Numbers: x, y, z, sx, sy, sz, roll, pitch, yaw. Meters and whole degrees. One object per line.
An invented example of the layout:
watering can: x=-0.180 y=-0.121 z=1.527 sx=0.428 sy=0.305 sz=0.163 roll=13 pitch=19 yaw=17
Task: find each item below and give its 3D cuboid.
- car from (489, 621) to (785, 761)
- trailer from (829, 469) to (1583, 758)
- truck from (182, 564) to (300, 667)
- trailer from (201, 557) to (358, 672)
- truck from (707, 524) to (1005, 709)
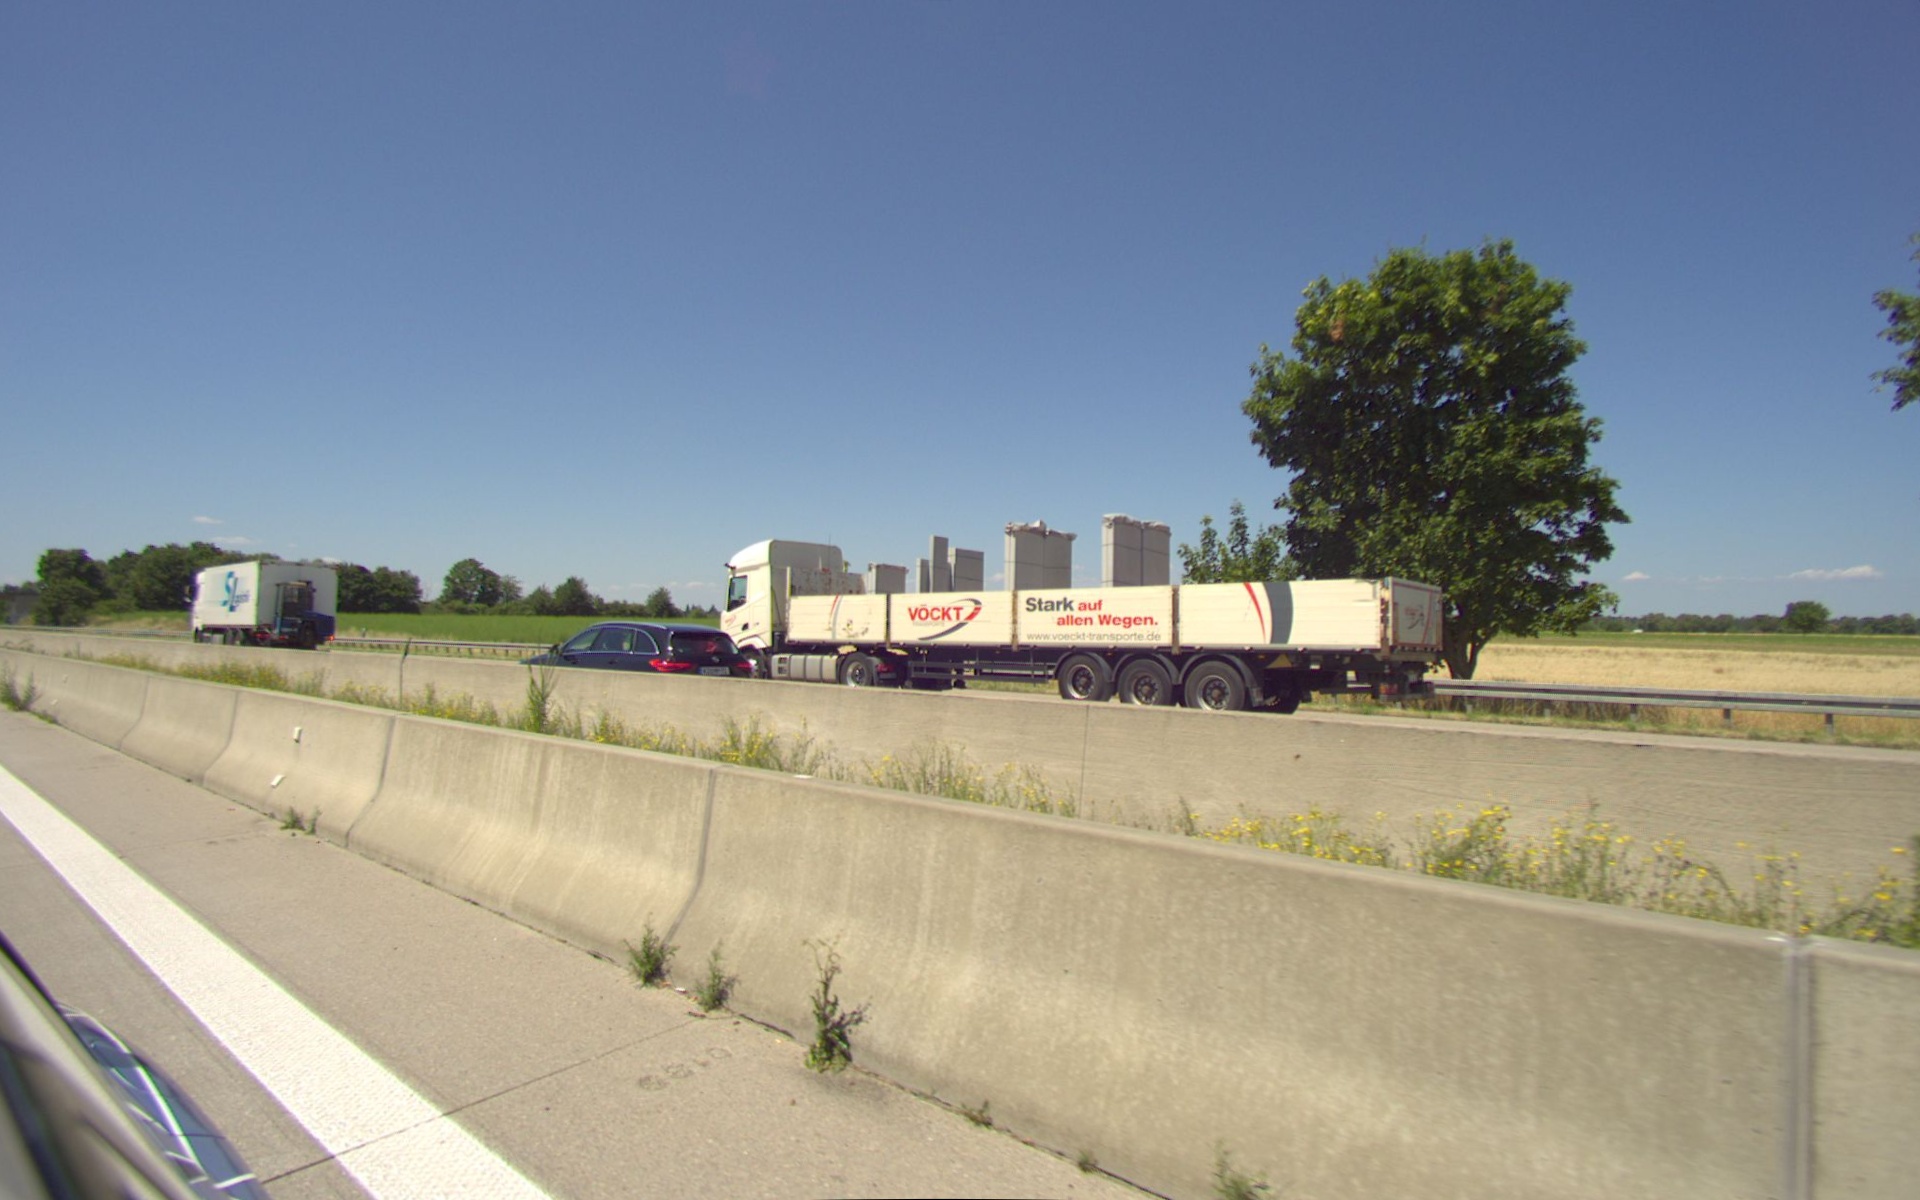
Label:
car: x=-5.021 y=1.209 z=15.321 sx=5.022 sy=1.730 sz=1.973 roll=-1 pitch=0 yaw=42
trailer: x=3.216 y=0.265 z=18.612 sx=13.743 sy=3.711 sz=2.774 roll=-1 pitch=0 yaw=41
truck: x=-29.780 y=0.615 z=41.875 sx=5.042 sy=4.000 sz=2.871 roll=-1 pitch=0 yaw=41
trailer: x=-26.214 y=0.553 z=38.804 sx=8.472 sy=4.000 sz=2.871 roll=-1 pitch=0 yaw=41
truck: x=-2.646 y=0.368 z=23.795 sx=7.233 sy=3.715 sz=2.774 roll=-1 pitch=0 yaw=41
